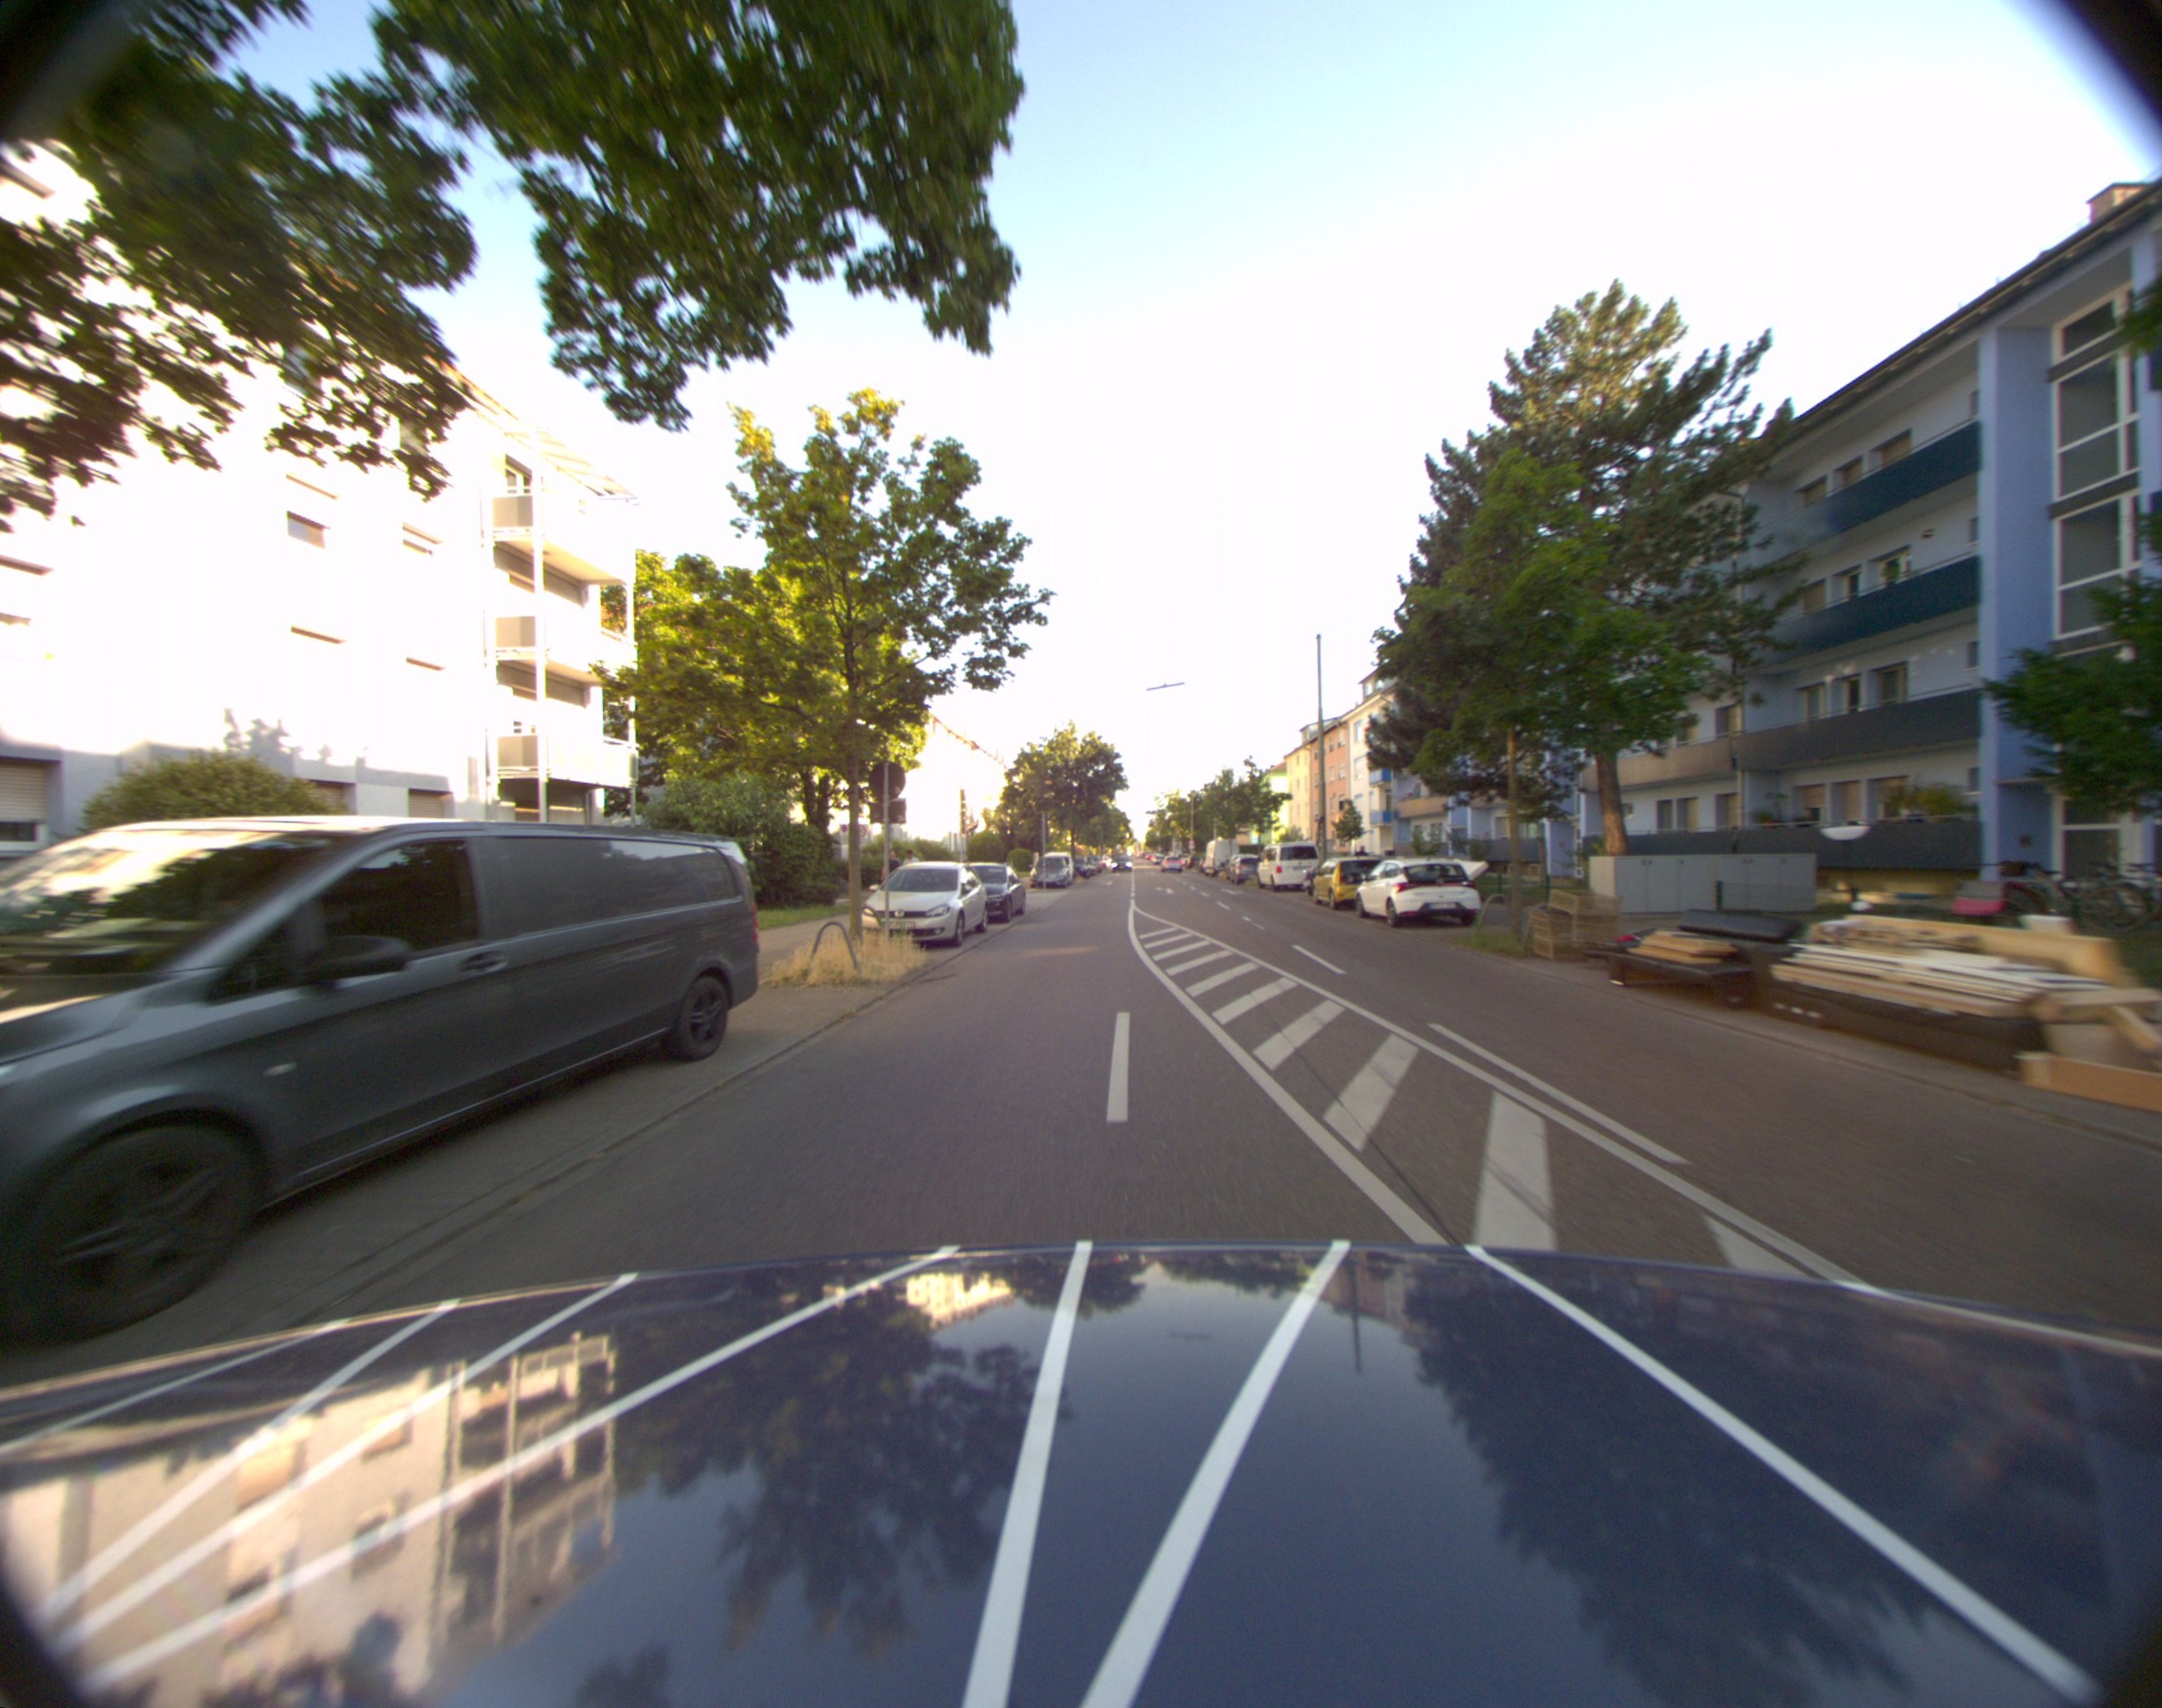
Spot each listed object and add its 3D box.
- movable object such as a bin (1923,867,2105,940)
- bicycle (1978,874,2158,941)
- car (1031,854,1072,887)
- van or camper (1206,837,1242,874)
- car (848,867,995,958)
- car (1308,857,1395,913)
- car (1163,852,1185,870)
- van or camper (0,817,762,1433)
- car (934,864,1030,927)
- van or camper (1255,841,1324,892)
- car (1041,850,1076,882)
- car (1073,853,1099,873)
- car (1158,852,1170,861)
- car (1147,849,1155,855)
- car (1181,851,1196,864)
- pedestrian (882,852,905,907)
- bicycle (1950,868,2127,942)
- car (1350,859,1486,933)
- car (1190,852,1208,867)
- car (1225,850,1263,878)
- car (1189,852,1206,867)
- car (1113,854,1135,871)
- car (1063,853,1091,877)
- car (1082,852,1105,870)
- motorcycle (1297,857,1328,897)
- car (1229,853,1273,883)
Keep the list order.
[{"bbox_3d":[14.285,0.739,11.692,1.465,1.043,1.061,-1,1,4],"label":"movable object such as a bin"},{"bbox_3d":[16.205,0.845,12.546,0.504,0.983,1.747,-1,0,-14],"label":"bicycle"},{"bbox_3d":[-1.424,0.789,38.257,1.797,1.577,4.000,0,0,1],"label":"car"},{"bbox_3d":[10.334,0.058,55.183,1.917,2.528,5.336,-1,0,4],"label":"van or camper"},{"bbox_3d":[-2.869,0.999,14.622,1.738,1.435,4.305,0,0,3],"label":"car"},{"bbox_3d":[7.870,0.859,22.410,1.577,1.460,3.492,-2,0,6],"label":"car"},{"bbox_3d":[8.272,0.614,67.732,1.726,1.473,3.957,0,0,3],"label":"car"},{"bbox_3d":[-4.068,0.847,4.246,1.998,1.831,5.261,-1,-1,4],"label":"van or camper"},{"bbox_3d":[-2.464,0.993,19.909,1.738,1.435,4.340,0,0,3],"label":"car"},{"bbox_3d":[8.839,0.494,32.622,1.808,2.002,4.865,-1,0,3],"label":"van or camper"},{"bbox_3d":[-1.245,0.636,43.647,1.797,1.761,4.000,0,0,1],"label":"car"},{"bbox_3d":[0.441,0.682,59.669,1.797,1.558,3.673,0,0,4],"label":"car"},{"bbox_3d":[12.324,0.359,112.801,1.808,1.390,3.958,-1,0,6],"label":"car"},{"bbox_3d":[17.406,-0.586,189.454,1.808,1.390,3.957,-1,0,4],"label":"car"},{"bbox_3d":[13.990,0.457,99.211,1.808,1.587,3.958,-1,0,6],"label":"car"},{"bbox_3d":[-6.012,0.814,24.405,0.593,1.718,0.406,-1,1,4],"label":"pedestrian"},{"bbox_3d":[15.613,0.794,12.463,0.533,1.089,1.747,-1,0,-14],"label":"bicycle"},{"bbox_3d":[7.534,0.877,17.401,1.683,1.434,3.883,-2,0,6],"label":"car"},{"bbox_3d":[12.000,0.561,77.348,1.762,1.439,3.592,-1,0,9],"label":"car"},{"bbox_3d":[9.885,0.595,46.401,1.808,1.582,3.958,-1,0,6],"label":"car"},{"bbox_3d":[12.470,0.564,81.281,1.762,1.439,3.787,-1,0,9],"label":"car"},{"bbox_3d":[4.106,0.762,72.373,1.998,1.525,4.000,-1,0,3],"label":"car"},{"bbox_3d":[-0.214,0.744,52.228,1.797,1.558,3.672,0,0,1],"label":"car"},{"bbox_3d":[1.169,0.593,68.970,1.797,1.558,3.673,0,0,4],"label":"car"},{"bbox_3d":[8.497,0.819,27.797,0.792,1.393,2.021,-1,1,25],"label":"motorcycle"},{"bbox_3d":[9.192,0.742,41.332,1.808,1.489,3.958,-1,0,6],"label":"car"}]
